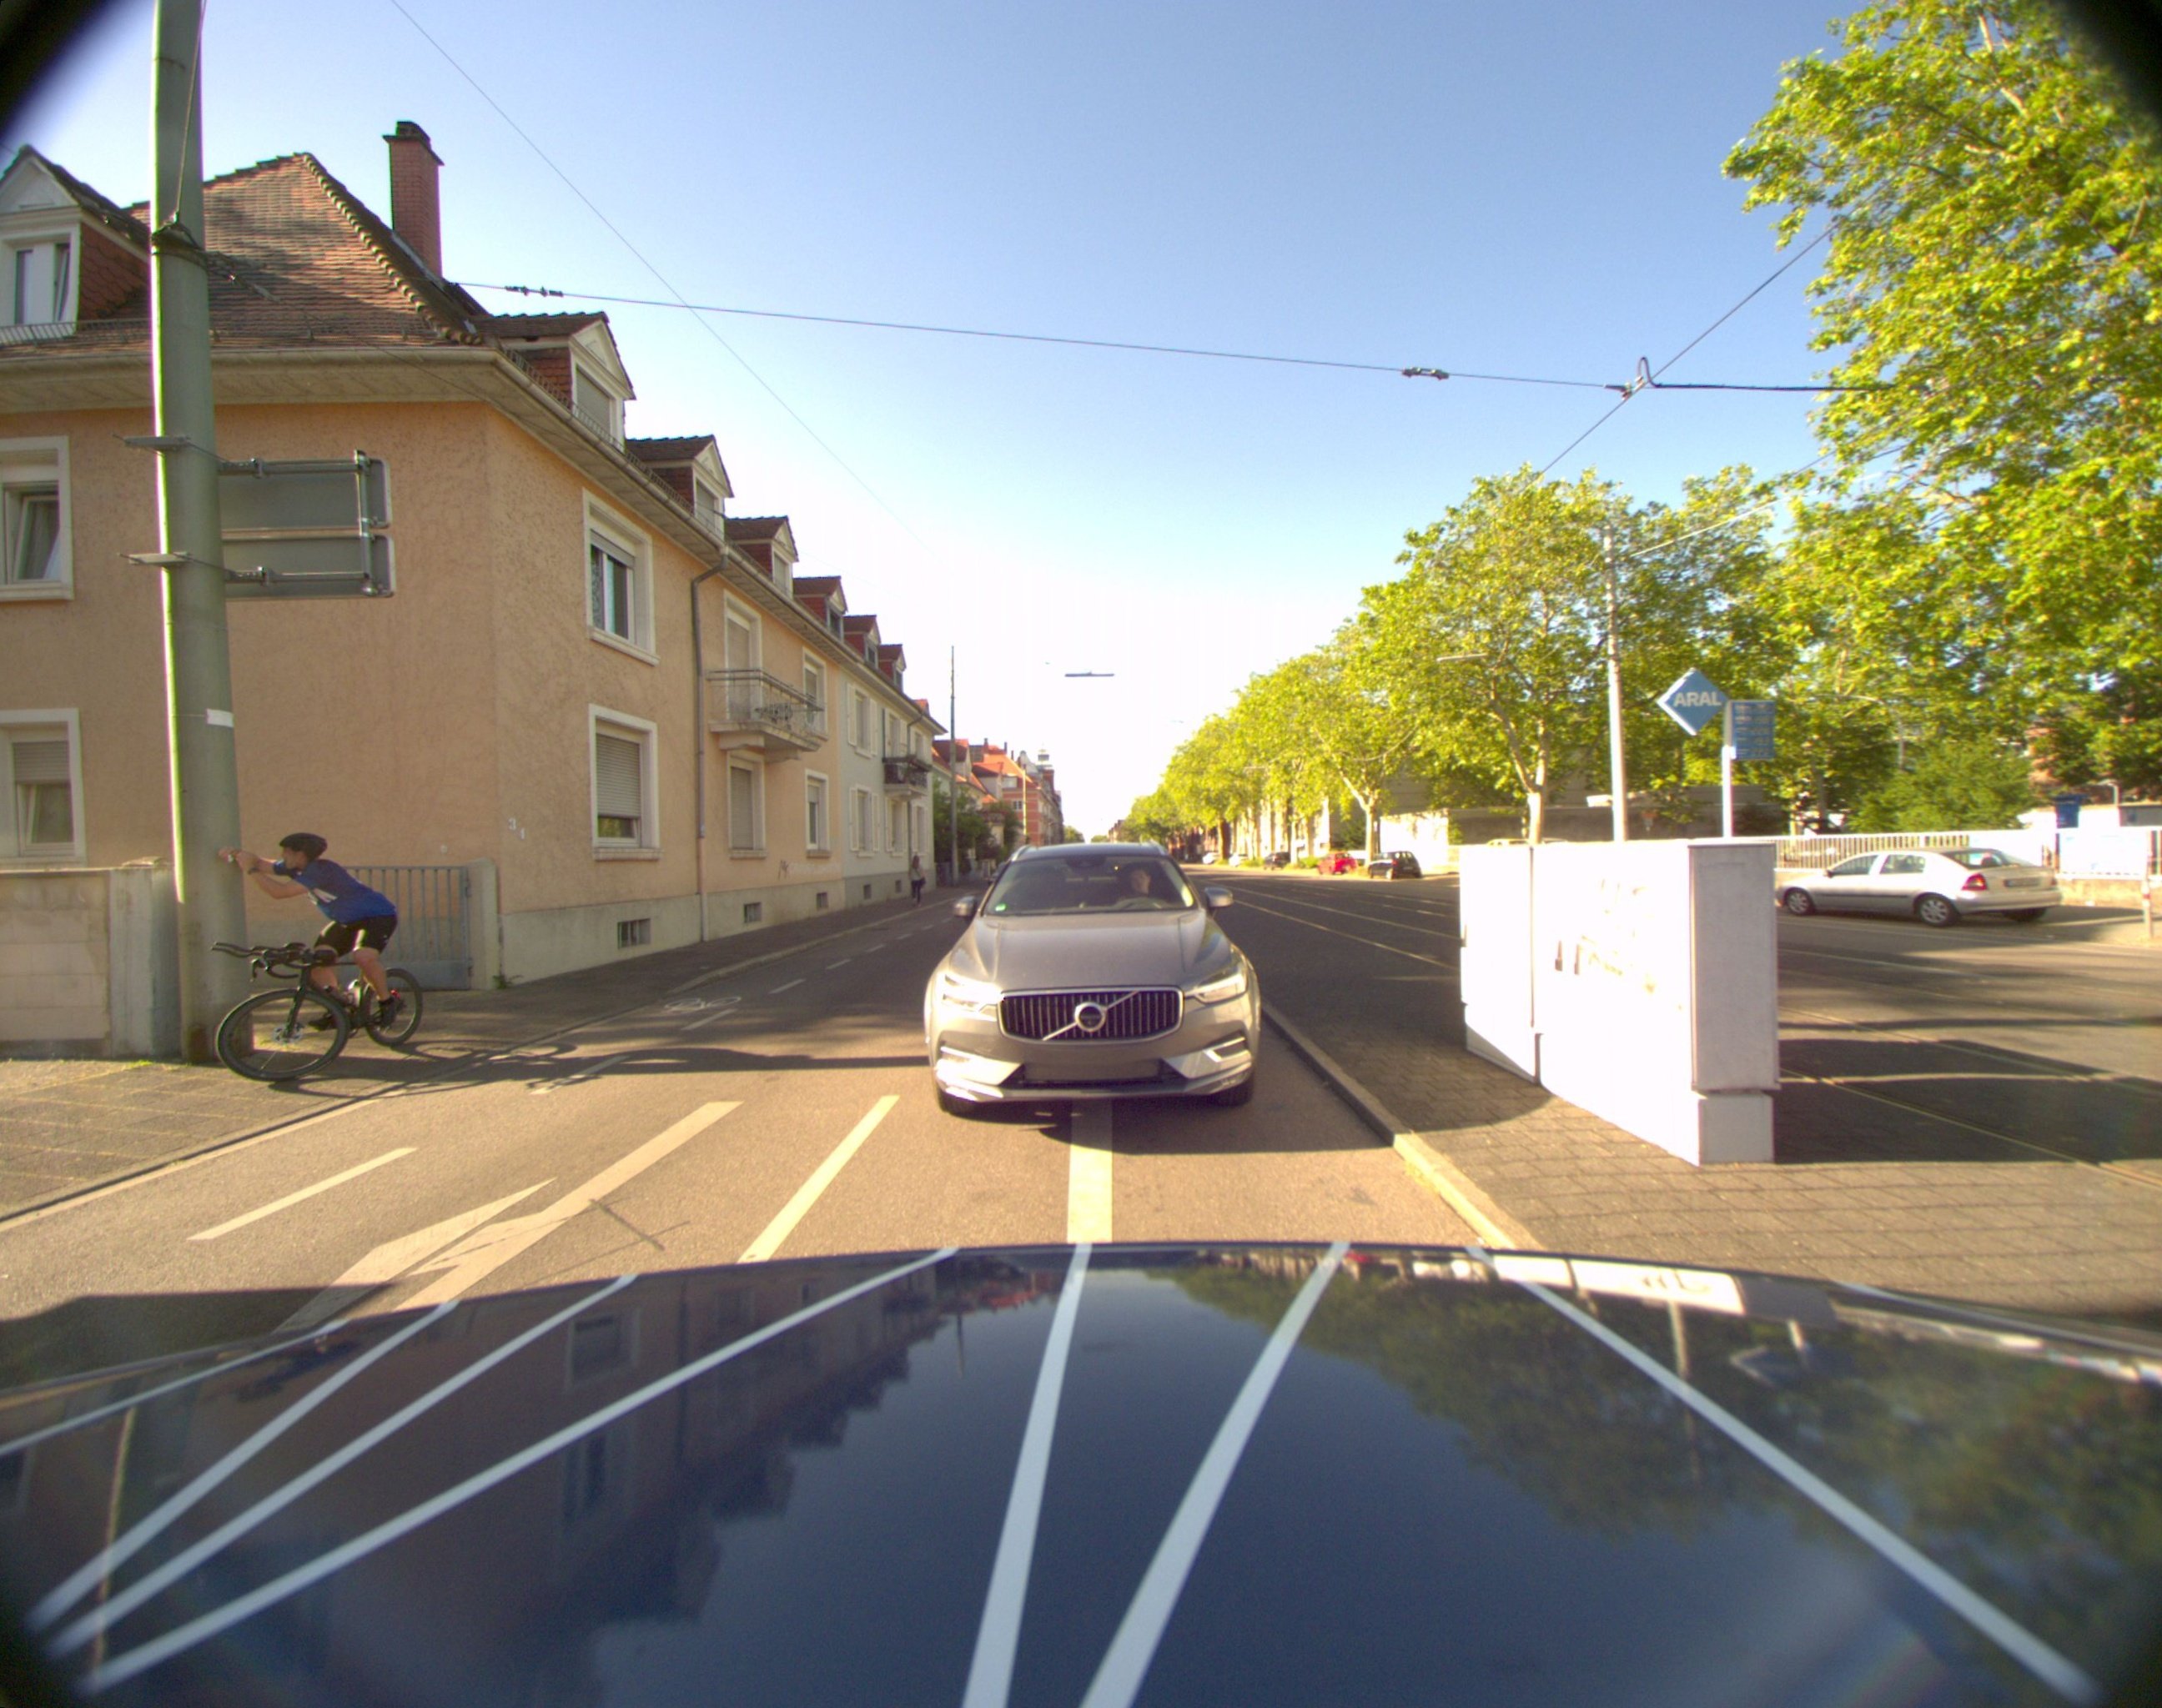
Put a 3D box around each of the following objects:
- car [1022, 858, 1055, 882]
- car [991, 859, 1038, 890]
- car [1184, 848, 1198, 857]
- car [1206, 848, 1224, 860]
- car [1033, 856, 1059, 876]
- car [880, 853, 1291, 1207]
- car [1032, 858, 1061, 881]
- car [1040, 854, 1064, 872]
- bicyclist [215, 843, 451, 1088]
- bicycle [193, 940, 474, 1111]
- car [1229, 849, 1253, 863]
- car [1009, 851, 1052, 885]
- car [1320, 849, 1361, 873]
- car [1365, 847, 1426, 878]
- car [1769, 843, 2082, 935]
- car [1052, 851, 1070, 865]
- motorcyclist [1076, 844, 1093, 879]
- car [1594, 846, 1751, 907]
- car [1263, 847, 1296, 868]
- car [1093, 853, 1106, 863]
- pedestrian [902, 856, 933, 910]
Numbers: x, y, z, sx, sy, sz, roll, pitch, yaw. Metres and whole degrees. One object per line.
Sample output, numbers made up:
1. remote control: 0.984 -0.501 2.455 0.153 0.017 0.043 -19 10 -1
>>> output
1. car: -2.672 0.990 48.313 1.785 1.346 4.000 -1 0 1
2. car: -3.199 0.963 37.035 1.647 1.357 3.868 -1 0 4
3. car: 18.211 -0.221 125.637 1.802 1.504 4.000 -1 0 1
4. car: 17.747 -0.012 100.680 1.802 1.504 4.000 -1 0 1
5. car: -2.739 0.944 60.685 1.785 1.468 4.000 -1 0 1
6. car: 0.051 0.850 5.811 1.940 1.650 4.321 -1 0 1
7. car: -2.454 1.084 54.449 1.785 1.468 4.000 -1 0 1
8. car: -2.549 0.766 66.839 1.875 1.477 4.000 -1 0 1
9. bicyclist: -6.138 0.861 6.300 1.076 1.854 0.846 2 1 1
10. bicycle: -5.933 1.301 6.185 0.572 0.986 1.698 2 0 1
11. car: 17.559 0.220 83.435 1.802 1.489 4.000 -1 0 1
12. car: -2.777 0.715 42.894 1.751 1.767 5.351 -1 0 3
13. car: 16.955 0.434 49.758 1.641 1.499 3.046 -1 0 1
14. car: 16.894 0.421 40.989 1.826 1.521 3.653 -2 0 1
15. car: 16.256 0.597 15.000 1.795 1.455 3.966 -4 0 2
16. car: -2.190 0.449 85.501 1.875 1.477 4.000 -1 0 1
17. motorcyclist: 0.211 0.413 41.201 0.827 1.832 1.159 -2 1 1
18. car: 16.441 0.575 21.348 1.692 1.455 3.519 -4 0 2
19. car: 17.208 0.285 66.050 1.802 1.652 4.000 -1 0 1
20. car: 2.778 0.623 116.043 1.998 1.543 4.000 -1 0 1
21. pedestrian: -5.229 0.912 24.379 0.694 1.652 1.098 -2 1 0
